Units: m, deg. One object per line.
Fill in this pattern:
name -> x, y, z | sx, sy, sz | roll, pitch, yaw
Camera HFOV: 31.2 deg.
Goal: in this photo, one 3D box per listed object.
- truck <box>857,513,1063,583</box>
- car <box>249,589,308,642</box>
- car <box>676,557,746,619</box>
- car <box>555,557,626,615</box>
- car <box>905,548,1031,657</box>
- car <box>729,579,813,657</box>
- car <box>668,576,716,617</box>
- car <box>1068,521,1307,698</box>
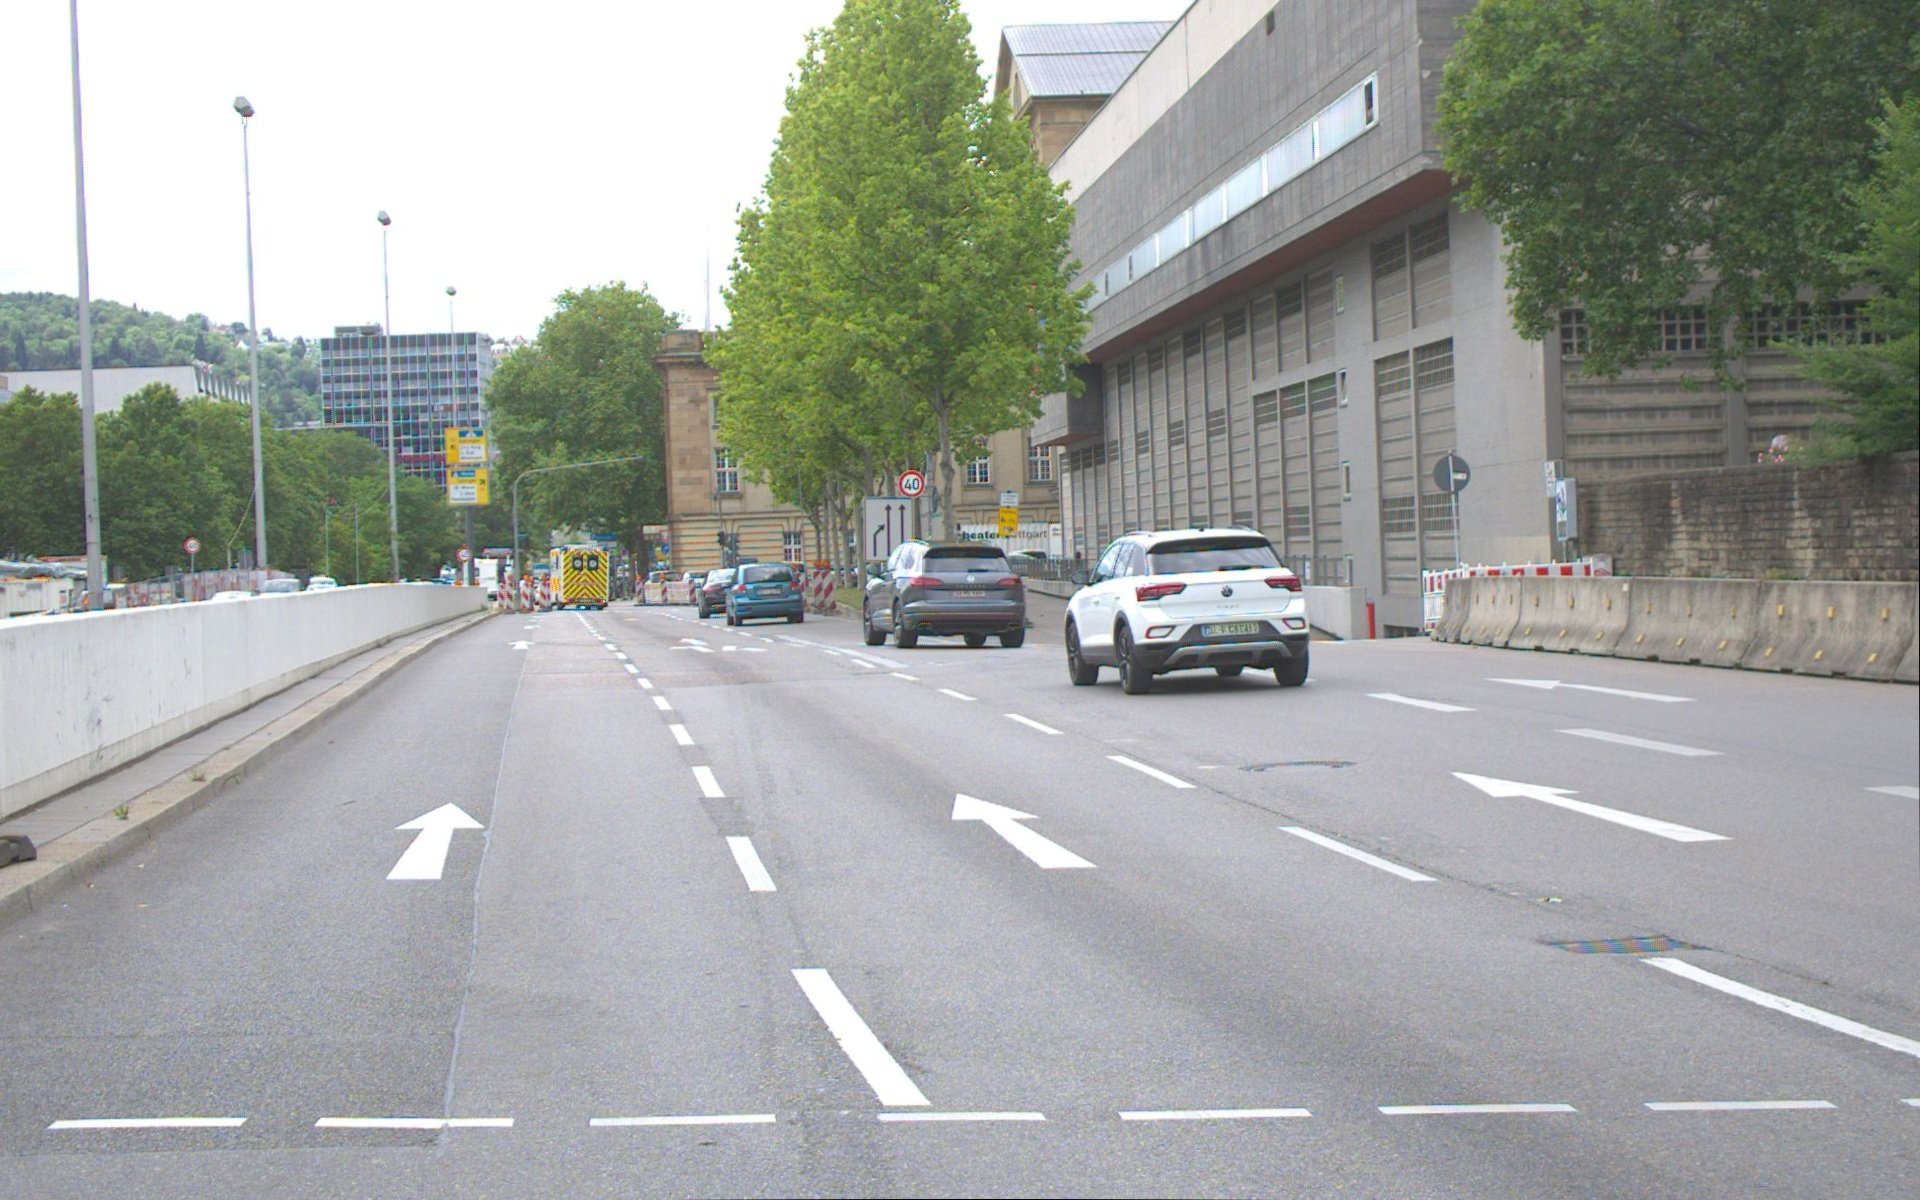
truck -> -0.019, -2.592, 172.537 | 10.028, 3.040, 2.569 | -2, -1, -5
car -> -28.256, 0.638, 142.629 | 1.993, 2.006, 4.001 | -2, 2, -7
car -> -7.372, -0.368, 102.010 | 1.823, 1.735, 4.480 | -3, 0, -2
car -> -16.033, -0.632, 149.488 | 2.582, 2.366, 5.527 | -3, 0, -2
car -> 0.165, -0.003, 54.095 | 1.823, 1.562, 4.480 | 2, 1, 2
car -> -4.480, 0.404, 81.977 | 1.823, 1.735, 4.480 | -3, 0, -2
car -> -11.863, -0.171, 152.517 | 1.823, 1.735, 4.480 | -3, 0, -2
car -> 2.207, 0.050, 34.388 | 1.750, 1.562, 4.332 | -3, 1, -4
